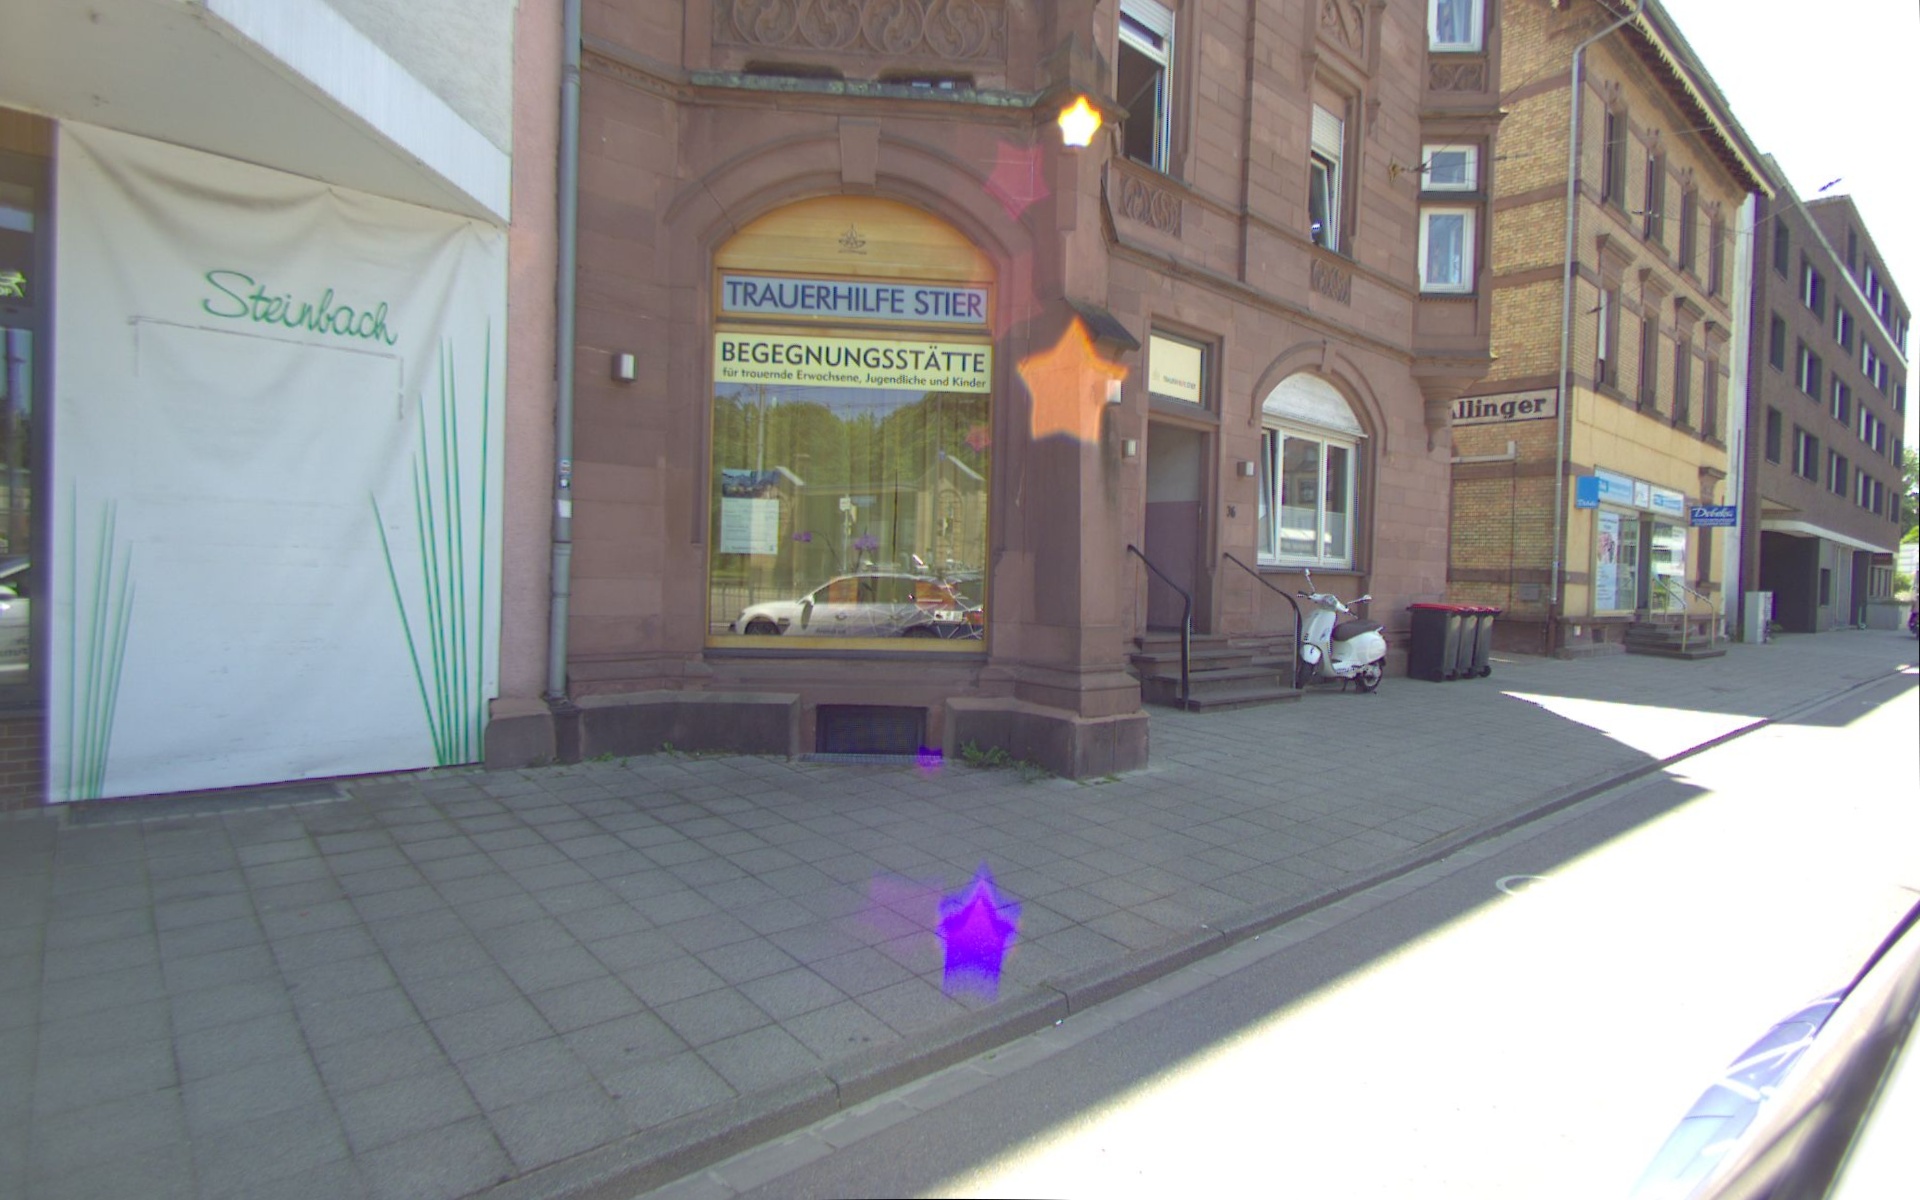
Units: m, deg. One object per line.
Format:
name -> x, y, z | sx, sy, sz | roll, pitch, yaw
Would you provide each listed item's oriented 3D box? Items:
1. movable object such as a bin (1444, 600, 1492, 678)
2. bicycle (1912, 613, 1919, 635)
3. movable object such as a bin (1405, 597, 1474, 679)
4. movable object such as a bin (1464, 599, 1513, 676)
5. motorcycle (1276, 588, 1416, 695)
movable object such as a bin -> 7.202, 0.543, 14.351 | 0.549, 1.061, 0.376 | 0, 4, -42
bicycle -> 37.571, 0.941, 38.816 | 1.868, 0.807, 0.692 | 1, 1, -18
movable object such as a bin -> 6.676, 0.517, 14.094 | 0.549, 1.061, 0.649 | 0, 4, -42
movable object such as a bin -> 7.674, 0.536, 14.693 | 0.646, 1.061, 0.376 | 0, 4, -42
motorcycle -> 4.539, 0.455, 11.852 | 1.843, 1.163, 0.529 | 1, 1, -33
